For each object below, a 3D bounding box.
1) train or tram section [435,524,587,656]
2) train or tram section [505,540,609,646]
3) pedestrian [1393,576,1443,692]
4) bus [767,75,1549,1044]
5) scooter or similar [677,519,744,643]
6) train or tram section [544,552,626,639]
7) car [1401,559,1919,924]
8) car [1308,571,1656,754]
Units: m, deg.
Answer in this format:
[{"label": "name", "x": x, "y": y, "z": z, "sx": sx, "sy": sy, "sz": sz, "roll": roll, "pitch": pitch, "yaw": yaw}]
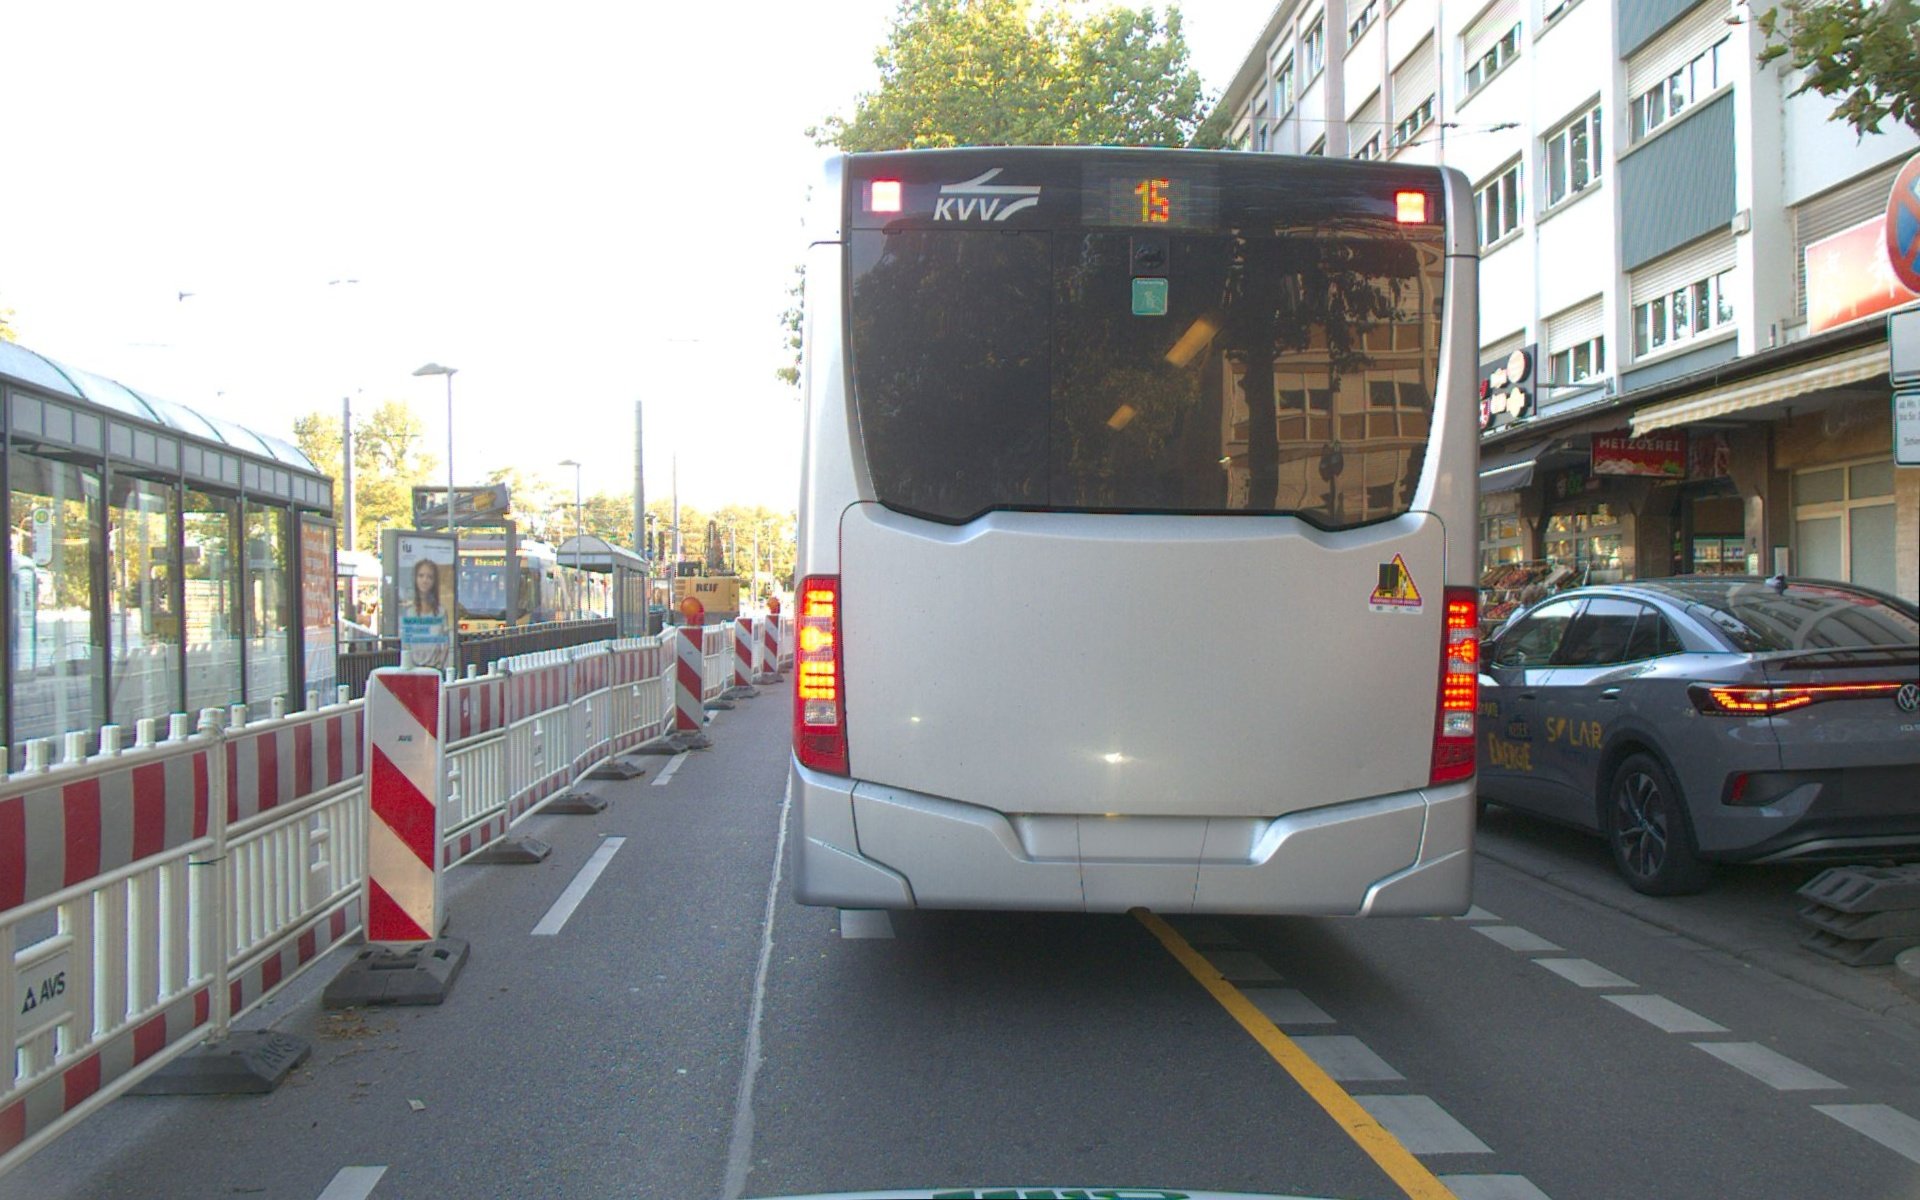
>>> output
[{"label": "train or tram section", "x": -13.729, "y": -0.260, "z": 51.595, "sx": 2.634, "sy": 3.595, "sz": 11.756, "roll": 1, "pitch": 0, "yaw": -6}, {"label": "train or tram section", "x": -15.195, "y": -0.215, "z": 63.147, "sx": 2.636, "sy": 3.621, "sz": 11.560, "roll": 1, "pitch": 0, "yaw": -8}, {"label": "pedestrian", "x": 6.864, "y": 0.504, "z": 24.808, "sx": 0.649, "sy": 1.696, "sz": 0.601, "roll": -2, "pitch": -1, "yaw": 15}, {"label": "bus", "x": 0.620, "y": -0.119, "z": 9.521, "sx": 2.558, "sy": 3.181, "sz": 7.991, "roll": 1, "pitch": 0, "yaw": -1}, {"label": "scooter or similar", "x": -9.667, "y": -0.701, "z": 64.287, "sx": 2.422, "sy": 4.549, "sz": 5.962, "roll": 0, "pitch": 0, "yaw": -8}, {"label": "train or tram section", "x": -16.741, "y": -0.169, "z": 74.519, "sx": 2.636, "sy": 3.594, "sz": 11.560, "roll": 1, "pitch": 0, "yaw": -8}, {"label": "car", "x": 4.378, "y": 0.618, "z": 9.834, "sx": 1.955, "sy": 1.609, "sz": 4.363, "roll": -3, "pitch": 1, "yaw": -5}, {"label": "car", "x": 5.347, "y": 0.567, "z": 17.626, "sx": 1.955, "sy": 1.609, "sz": 4.363, "roll": -3, "pitch": 1, "yaw": -5}]
